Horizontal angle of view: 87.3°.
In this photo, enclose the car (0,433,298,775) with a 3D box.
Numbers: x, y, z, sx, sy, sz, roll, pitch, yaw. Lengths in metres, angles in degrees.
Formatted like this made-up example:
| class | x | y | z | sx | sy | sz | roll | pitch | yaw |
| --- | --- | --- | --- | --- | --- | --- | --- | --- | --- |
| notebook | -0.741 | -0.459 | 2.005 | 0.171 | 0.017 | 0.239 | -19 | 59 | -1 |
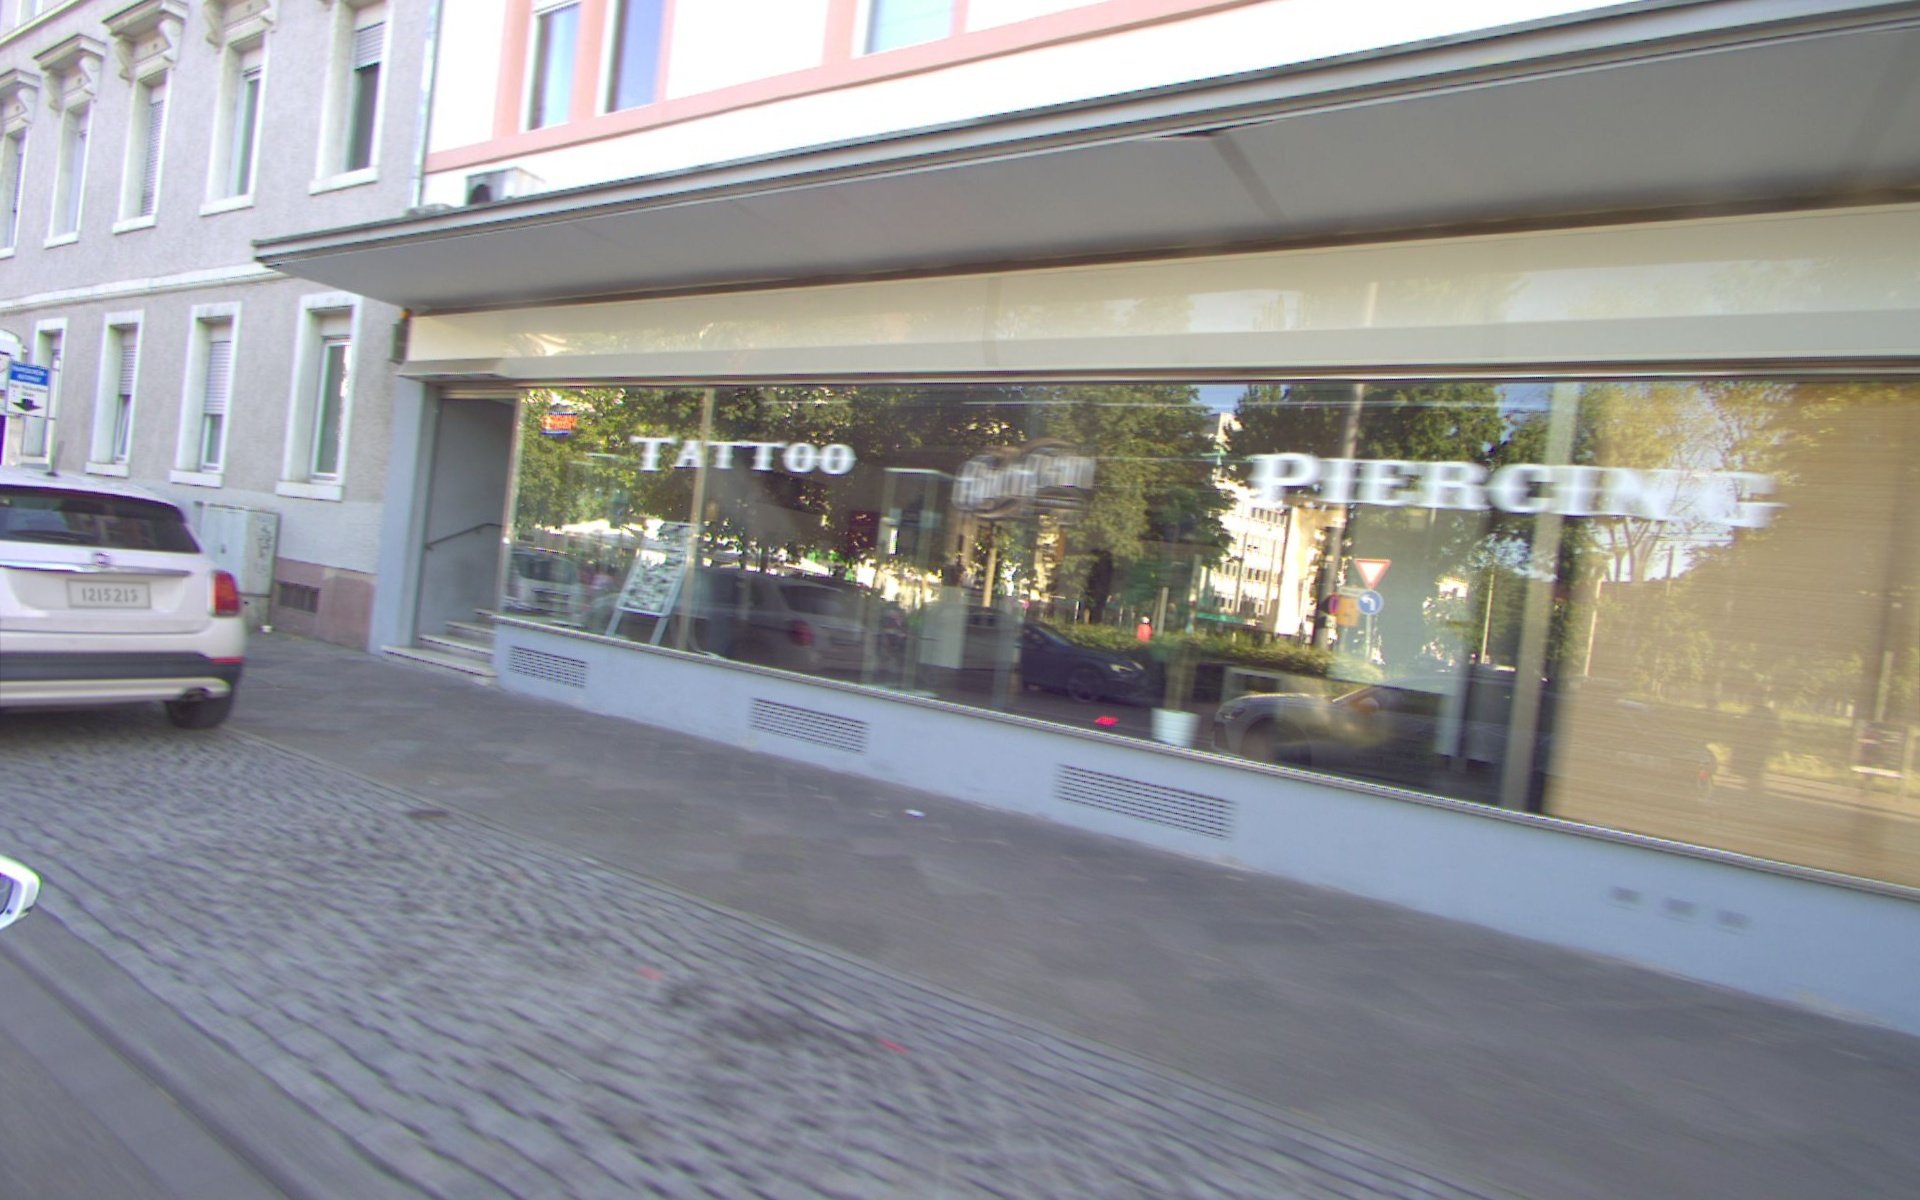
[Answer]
| class | x | y | z | sx | sy | sz | roll | pitch | yaw |
| --- | --- | --- | --- | --- | --- | --- | --- | --- | --- |
| car | -6.779 | -0.128 | 6.853 | 4.878 | 1.759 | 1.748 | 6 | -2 | 31 |
